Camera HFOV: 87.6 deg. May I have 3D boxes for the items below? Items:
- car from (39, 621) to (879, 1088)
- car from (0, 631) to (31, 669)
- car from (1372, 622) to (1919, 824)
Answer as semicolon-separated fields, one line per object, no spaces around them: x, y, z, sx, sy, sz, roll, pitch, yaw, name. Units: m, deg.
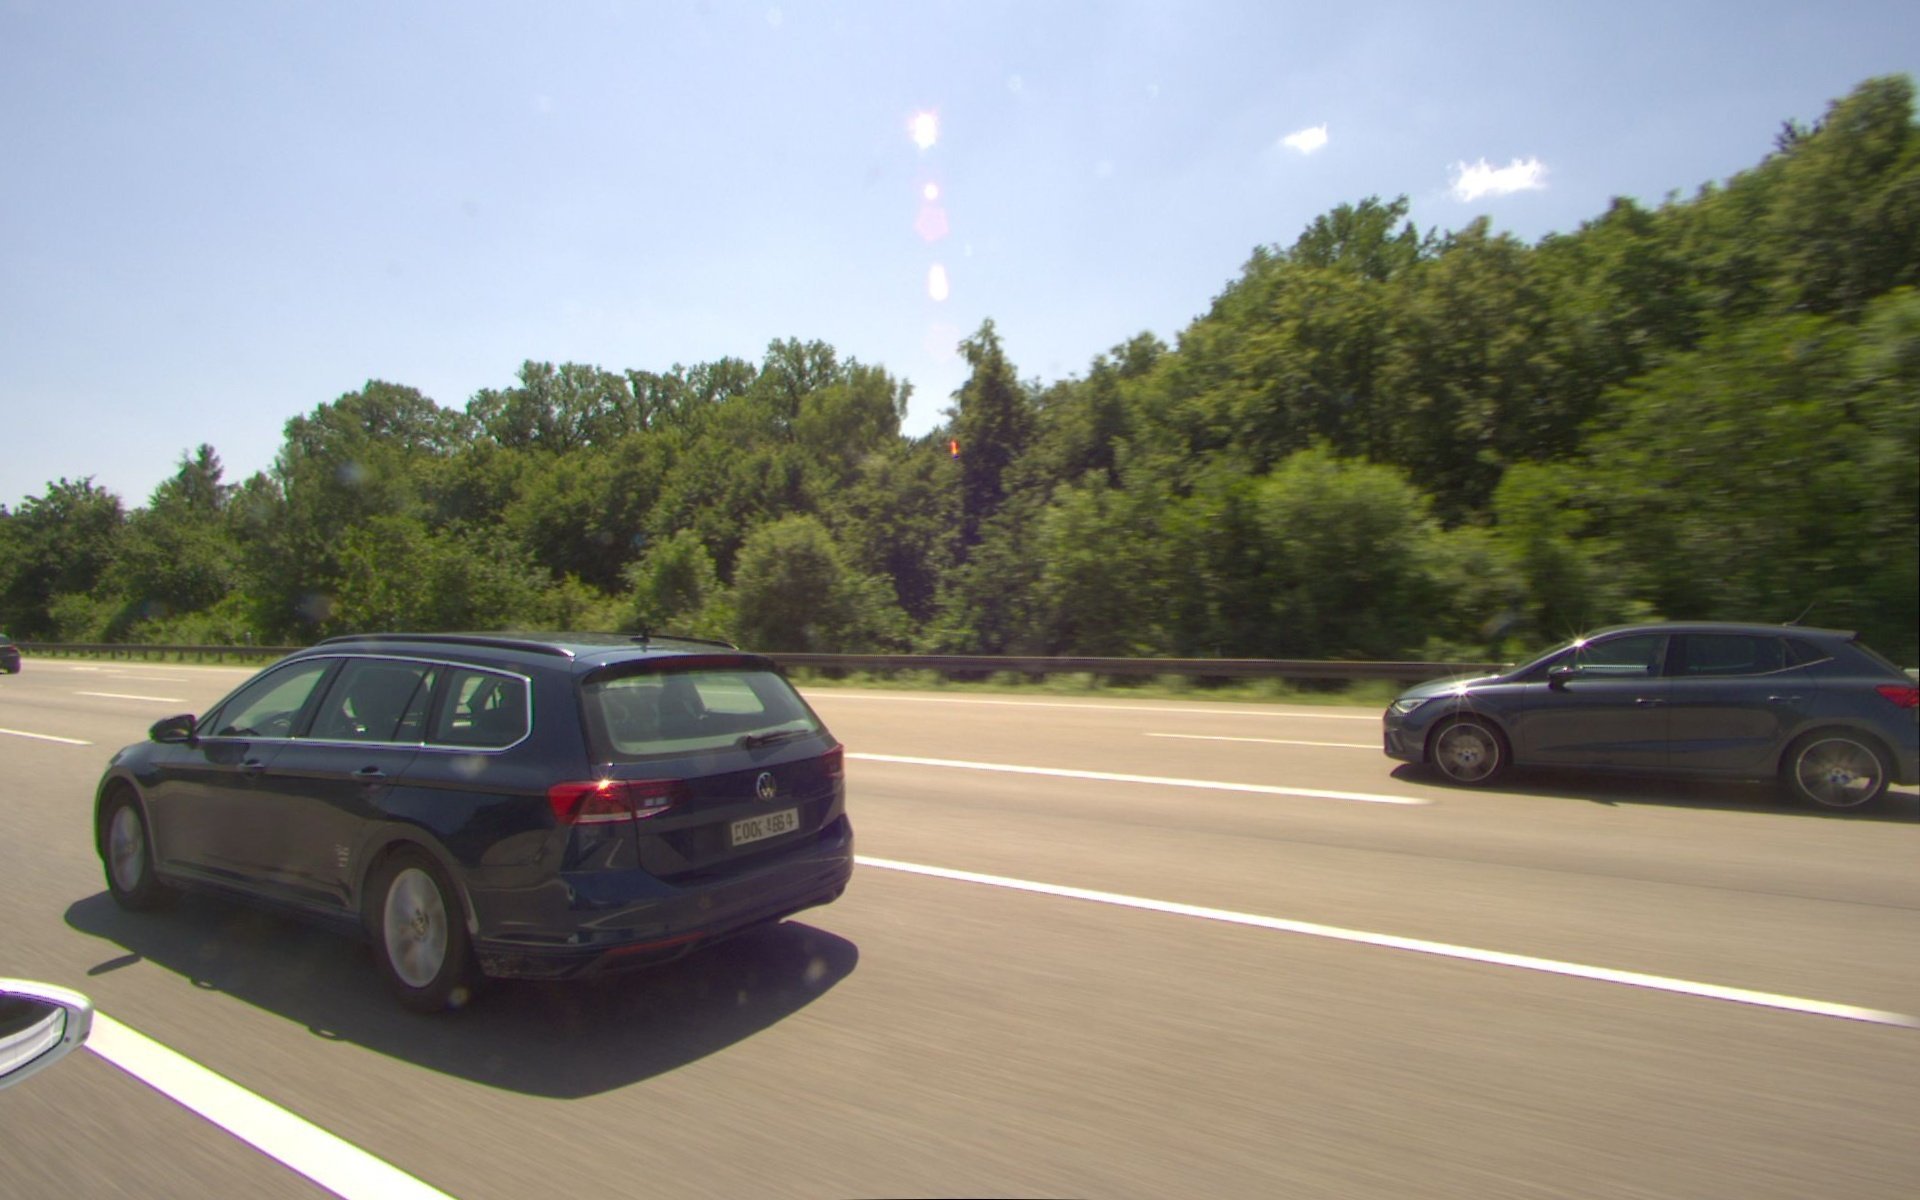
-2.881;0.854;5.238;4.892;1.466;1.726;-1;-1;33;car
-34.244;1.761;34.947;4.230;1.290;1.667;-2;-2;33;car
6.142;0.926;8.668;4.569;1.457;1.640;-1;-2;32;car
